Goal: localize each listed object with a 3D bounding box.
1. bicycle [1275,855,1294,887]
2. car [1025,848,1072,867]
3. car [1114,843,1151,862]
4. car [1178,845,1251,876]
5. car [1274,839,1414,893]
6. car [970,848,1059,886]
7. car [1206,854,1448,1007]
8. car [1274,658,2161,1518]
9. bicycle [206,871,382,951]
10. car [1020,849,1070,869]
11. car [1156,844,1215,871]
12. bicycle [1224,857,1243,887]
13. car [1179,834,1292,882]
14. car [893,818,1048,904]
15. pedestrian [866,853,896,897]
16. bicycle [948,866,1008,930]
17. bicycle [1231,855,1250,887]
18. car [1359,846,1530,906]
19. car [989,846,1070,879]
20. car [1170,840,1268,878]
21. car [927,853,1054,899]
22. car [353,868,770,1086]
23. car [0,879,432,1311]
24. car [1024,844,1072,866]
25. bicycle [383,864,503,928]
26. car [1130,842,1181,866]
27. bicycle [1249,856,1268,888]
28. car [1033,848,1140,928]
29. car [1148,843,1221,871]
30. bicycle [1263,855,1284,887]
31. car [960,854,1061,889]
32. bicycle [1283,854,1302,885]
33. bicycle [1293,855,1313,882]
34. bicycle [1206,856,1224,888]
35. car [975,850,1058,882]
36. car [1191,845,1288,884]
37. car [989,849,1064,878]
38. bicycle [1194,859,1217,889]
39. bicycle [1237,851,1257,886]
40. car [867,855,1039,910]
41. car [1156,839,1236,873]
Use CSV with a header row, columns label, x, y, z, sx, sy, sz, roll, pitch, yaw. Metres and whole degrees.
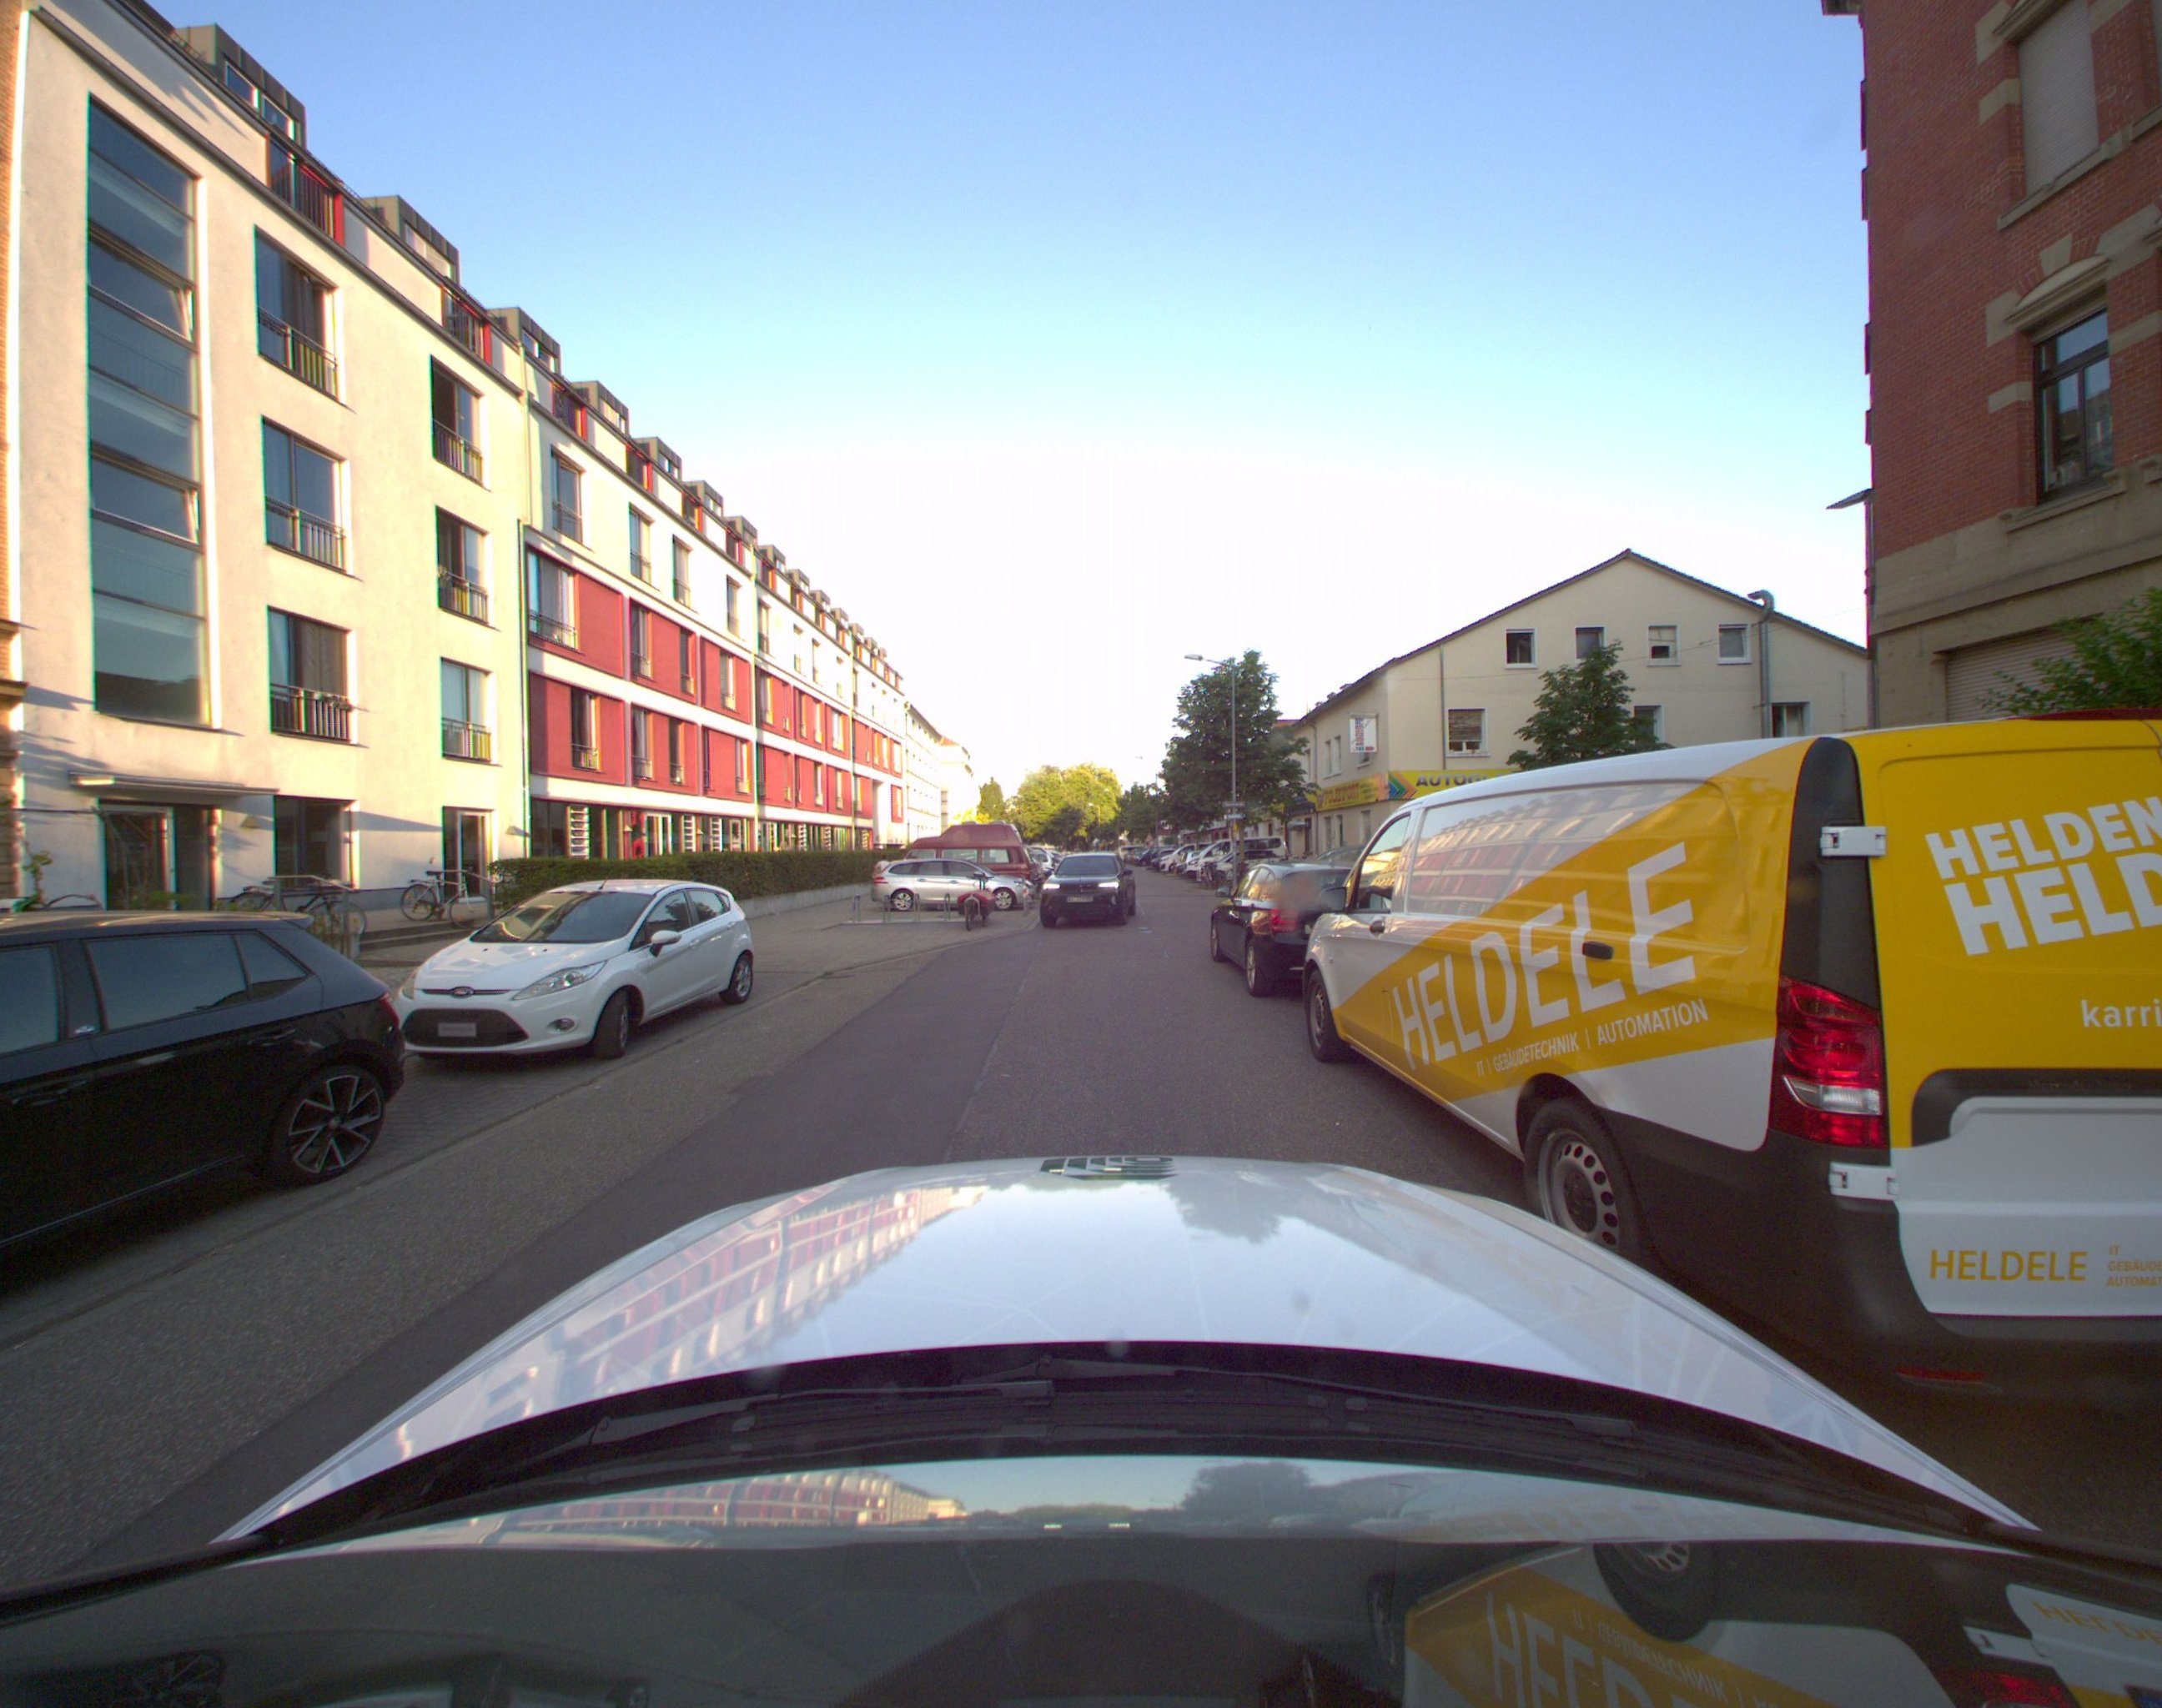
label,x,y,z,sx,sy,sz,roll,pitch,yaw
bicycle,7.952,0.637,31.846,0.351,1.200,1.482,-3,0,2
car,-3.049,0.311,76.471,4.241,1.749,2.001,0,0,1
car,5.795,-0.151,92.206,3.960,1.911,2.047,-3,0,-4
car,7.663,0.357,46.950,3.897,1.526,1.940,-3,0,2
car,8.575,0.373,26.804,4.035,1.514,1.757,-3,2,2
car,-3.313,0.630,41.209,4.241,1.836,2.001,0,0,1
car,2.646,0.720,9.802,1.715,1.424,4.254,0,0,1
car,2.541,0.493,4.335,1.886,1.884,5.083,-1,0,1
bicycle,-11.935,0.848,12.389,1.908,1.141,0.812,0,0,2
car,-3.110,0.399,71.698,4.241,1.714,2.001,0,0,1
car,8.202,0.260,63.984,4.303,1.804,1.810,-3,0,-1
bicycle,5.989,0.703,32.083,0.384,1.114,2.018,-3,0,2
car,7.318,0.180,38.974,4.971,1.983,2.221,-3,0,1
car,-3.384,0.198,25.605,4.493,2.584,2.001,0,0,2
pedestrian,-6.904,0.724,28.142,0.829,1.501,0.798,0,0,2
bicycle,-2.195,0.902,17.709,0.804,1.221,2.867,0,0,3
bicycle,6.272,0.651,32.065,0.384,1.200,2.018,-3,0,2
car,9.829,0.568,22.231,3.916,1.455,1.657,-2,1,0
car,-3.160,0.535,50.594,4.833,2.021,1.907,0,0,1
car,7.440,0.278,44.319,4.925,1.742,2.050,-3,0,2
car,-3.046,0.742,28.171,4.196,1.538,1.790,0,0,-1
car,-4.678,0.957,8.154,1.646,1.530,4.015,-1,0,-1
car,-4.875,0.942,3.055,1.697,1.534,3.845,-1,0,1
car,-3.135,0.117,79.111,4.517,2.134,2.001,0,0,1
bicycle,-11.742,0.760,15.011,1.768,1.148,0.611,0,0,3
car,7.021,0.006,76.693,4.470,1.911,1.685,-3,0,-4
bicycle,6.950,0.681,31.906,0.384,1.200,1.482,-3,0,2
car,0.245,0.673,18.191,1.769,1.517,4.010,-3,0,8
car,7.455,0.223,59.088,4.929,1.689,2.076,-3,0,-1
bicycle,7.525,0.663,31.863,0.443,1.200,1.482,-3,0,2
car,-3.033,0.755,35.782,4.193,1.490,1.850,0,0,1
bicycle,8.300,0.604,31.921,0.351,1.143,1.482,-3,0,2
bicycle,8.715,0.546,31.960,0.386,1.017,1.482,-3,0,2
bicycle,5.279,0.693,32.063,0.384,1.200,2.018,-3,0,2
car,-3.435,0.623,43.685,4.241,1.660,2.001,0,0,1
car,6.985,0.455,36.193,3.907,1.451,1.767,-3,0,-2
car,-3.146,0.540,48.038,4.241,1.652,1.888,0,0,1
bicycle,4.861,0.767,31.884,0.437,1.130,2.014,-3,0,-4
bicycle,6.529,0.557,32.070,0.384,1.304,2.018,-3,0,2
car,-3.507,0.777,23.030,4.604,1.460,1.879,0,0,-2
car,7.597,0.146,54.260,4.929,1.958,2.049,-3,0,-1
